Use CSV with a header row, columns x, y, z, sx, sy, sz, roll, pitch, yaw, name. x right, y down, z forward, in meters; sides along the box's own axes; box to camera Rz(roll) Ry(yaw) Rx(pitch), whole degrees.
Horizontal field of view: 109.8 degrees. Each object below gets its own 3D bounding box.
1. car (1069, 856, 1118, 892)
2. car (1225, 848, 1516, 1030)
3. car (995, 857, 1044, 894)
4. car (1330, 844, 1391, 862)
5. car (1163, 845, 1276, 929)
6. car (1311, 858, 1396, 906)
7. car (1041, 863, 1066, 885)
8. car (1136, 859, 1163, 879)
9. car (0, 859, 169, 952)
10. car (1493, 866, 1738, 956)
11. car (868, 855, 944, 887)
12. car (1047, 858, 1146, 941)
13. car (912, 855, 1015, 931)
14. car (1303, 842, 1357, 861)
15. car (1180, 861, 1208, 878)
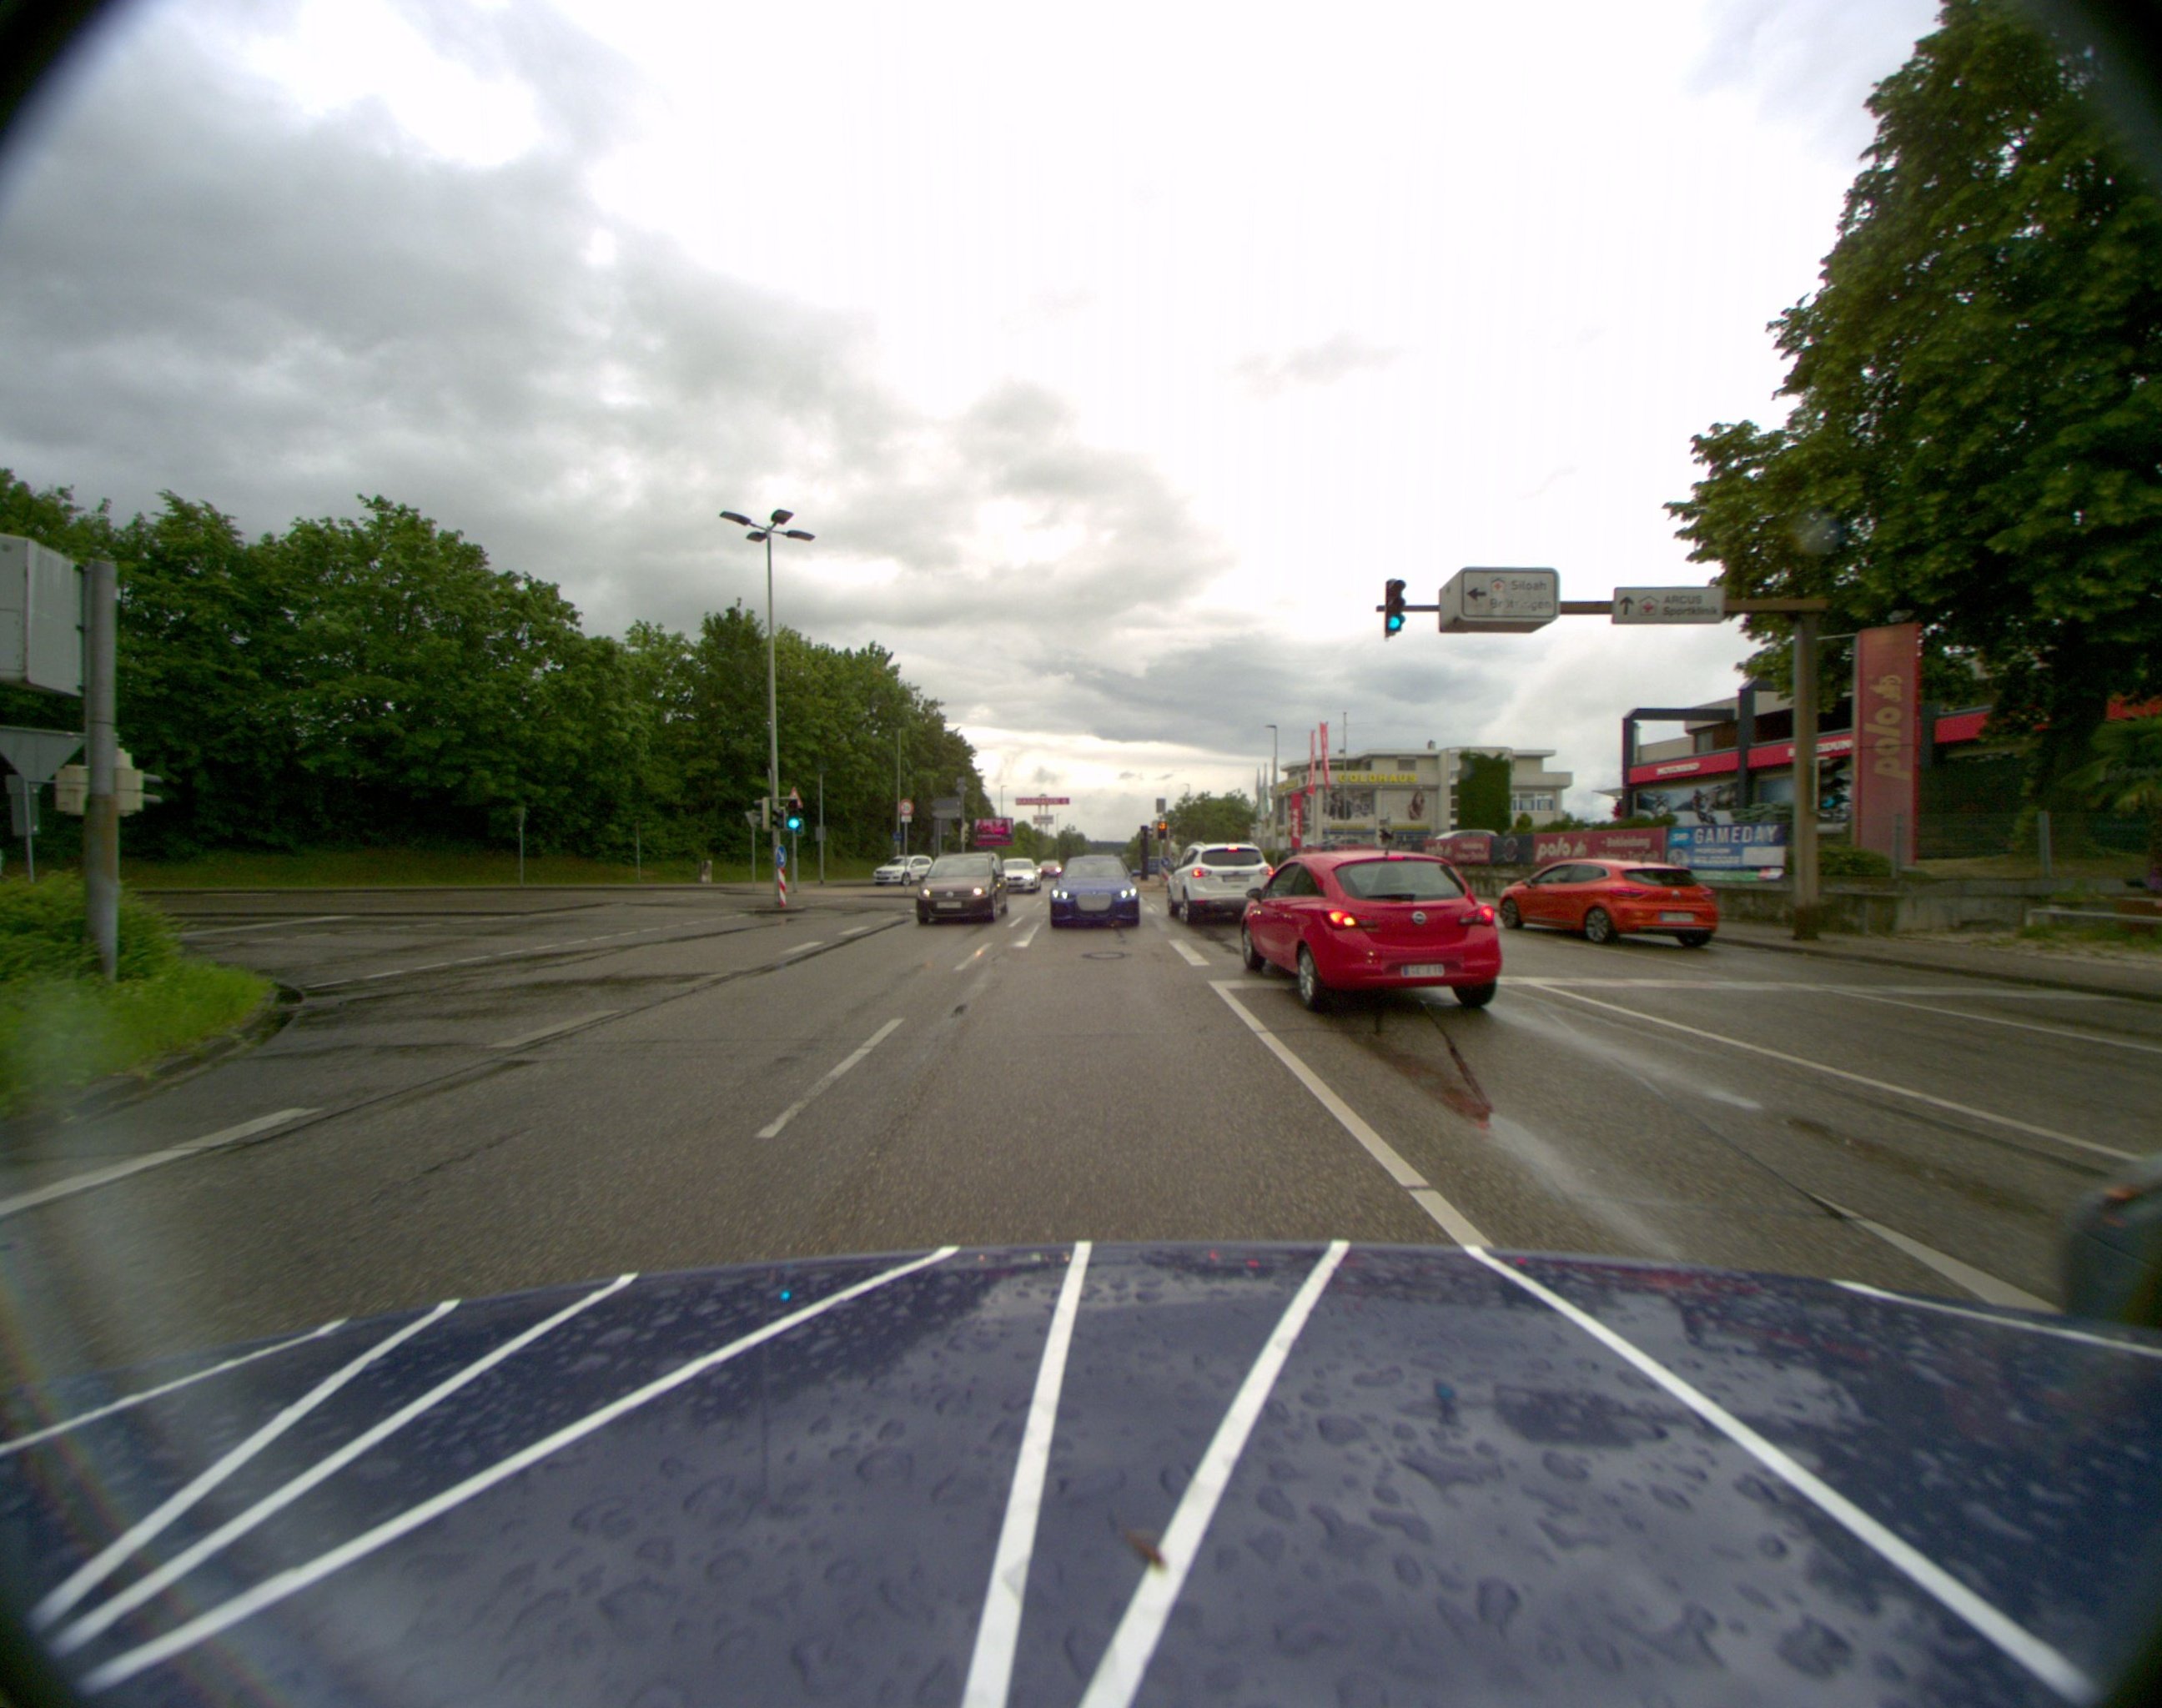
x,y,z,sx,sy,sz,roll,pitch,yaw,name
0.587,0.882,33.946,1.998,1.455,4.369,-1,-1,2,car
2.797,0.694,8.375,1.636,1.426,4.143,-1,1,0,car
-2.610,0.887,33.229,1.784,1.448,4.679,-1,0,0,car
17.981,-0.057,48.910,3.395,1.160,1.454,0,0,-1,car
2.949,0.666,17.020,1.844,1.640,4.298,0,0,1,car
9.765,0.957,27.502,1.680,1.608,4.001,1,-1,1,car
-1.944,1.416,53.748,1.634,1.448,3.538,-1,0,0,car
5.740,1.244,64.086,1.844,1.640,4.297,1,0,0,car
-18.765,0.826,12.770,4.004,1.420,1.849,1,1,-19,car
9.246,0.899,13.599,1.626,1.324,3.946,1,0,0,car
-9.703,0.916,42.456,1.995,1.717,4.324,0,-1,22,car
0.271,0.844,16.134,1.784,1.448,4.597,-1,0,0,car
-2.721,0.854,18.473,1.751,1.599,3.981,-1,0,1,car
17.783,-0.139,54.325,3.394,1.329,1.454,0,0,2,car
9.975,1.349,67.428,1.922,1.371,4.126,1,0,1,car
